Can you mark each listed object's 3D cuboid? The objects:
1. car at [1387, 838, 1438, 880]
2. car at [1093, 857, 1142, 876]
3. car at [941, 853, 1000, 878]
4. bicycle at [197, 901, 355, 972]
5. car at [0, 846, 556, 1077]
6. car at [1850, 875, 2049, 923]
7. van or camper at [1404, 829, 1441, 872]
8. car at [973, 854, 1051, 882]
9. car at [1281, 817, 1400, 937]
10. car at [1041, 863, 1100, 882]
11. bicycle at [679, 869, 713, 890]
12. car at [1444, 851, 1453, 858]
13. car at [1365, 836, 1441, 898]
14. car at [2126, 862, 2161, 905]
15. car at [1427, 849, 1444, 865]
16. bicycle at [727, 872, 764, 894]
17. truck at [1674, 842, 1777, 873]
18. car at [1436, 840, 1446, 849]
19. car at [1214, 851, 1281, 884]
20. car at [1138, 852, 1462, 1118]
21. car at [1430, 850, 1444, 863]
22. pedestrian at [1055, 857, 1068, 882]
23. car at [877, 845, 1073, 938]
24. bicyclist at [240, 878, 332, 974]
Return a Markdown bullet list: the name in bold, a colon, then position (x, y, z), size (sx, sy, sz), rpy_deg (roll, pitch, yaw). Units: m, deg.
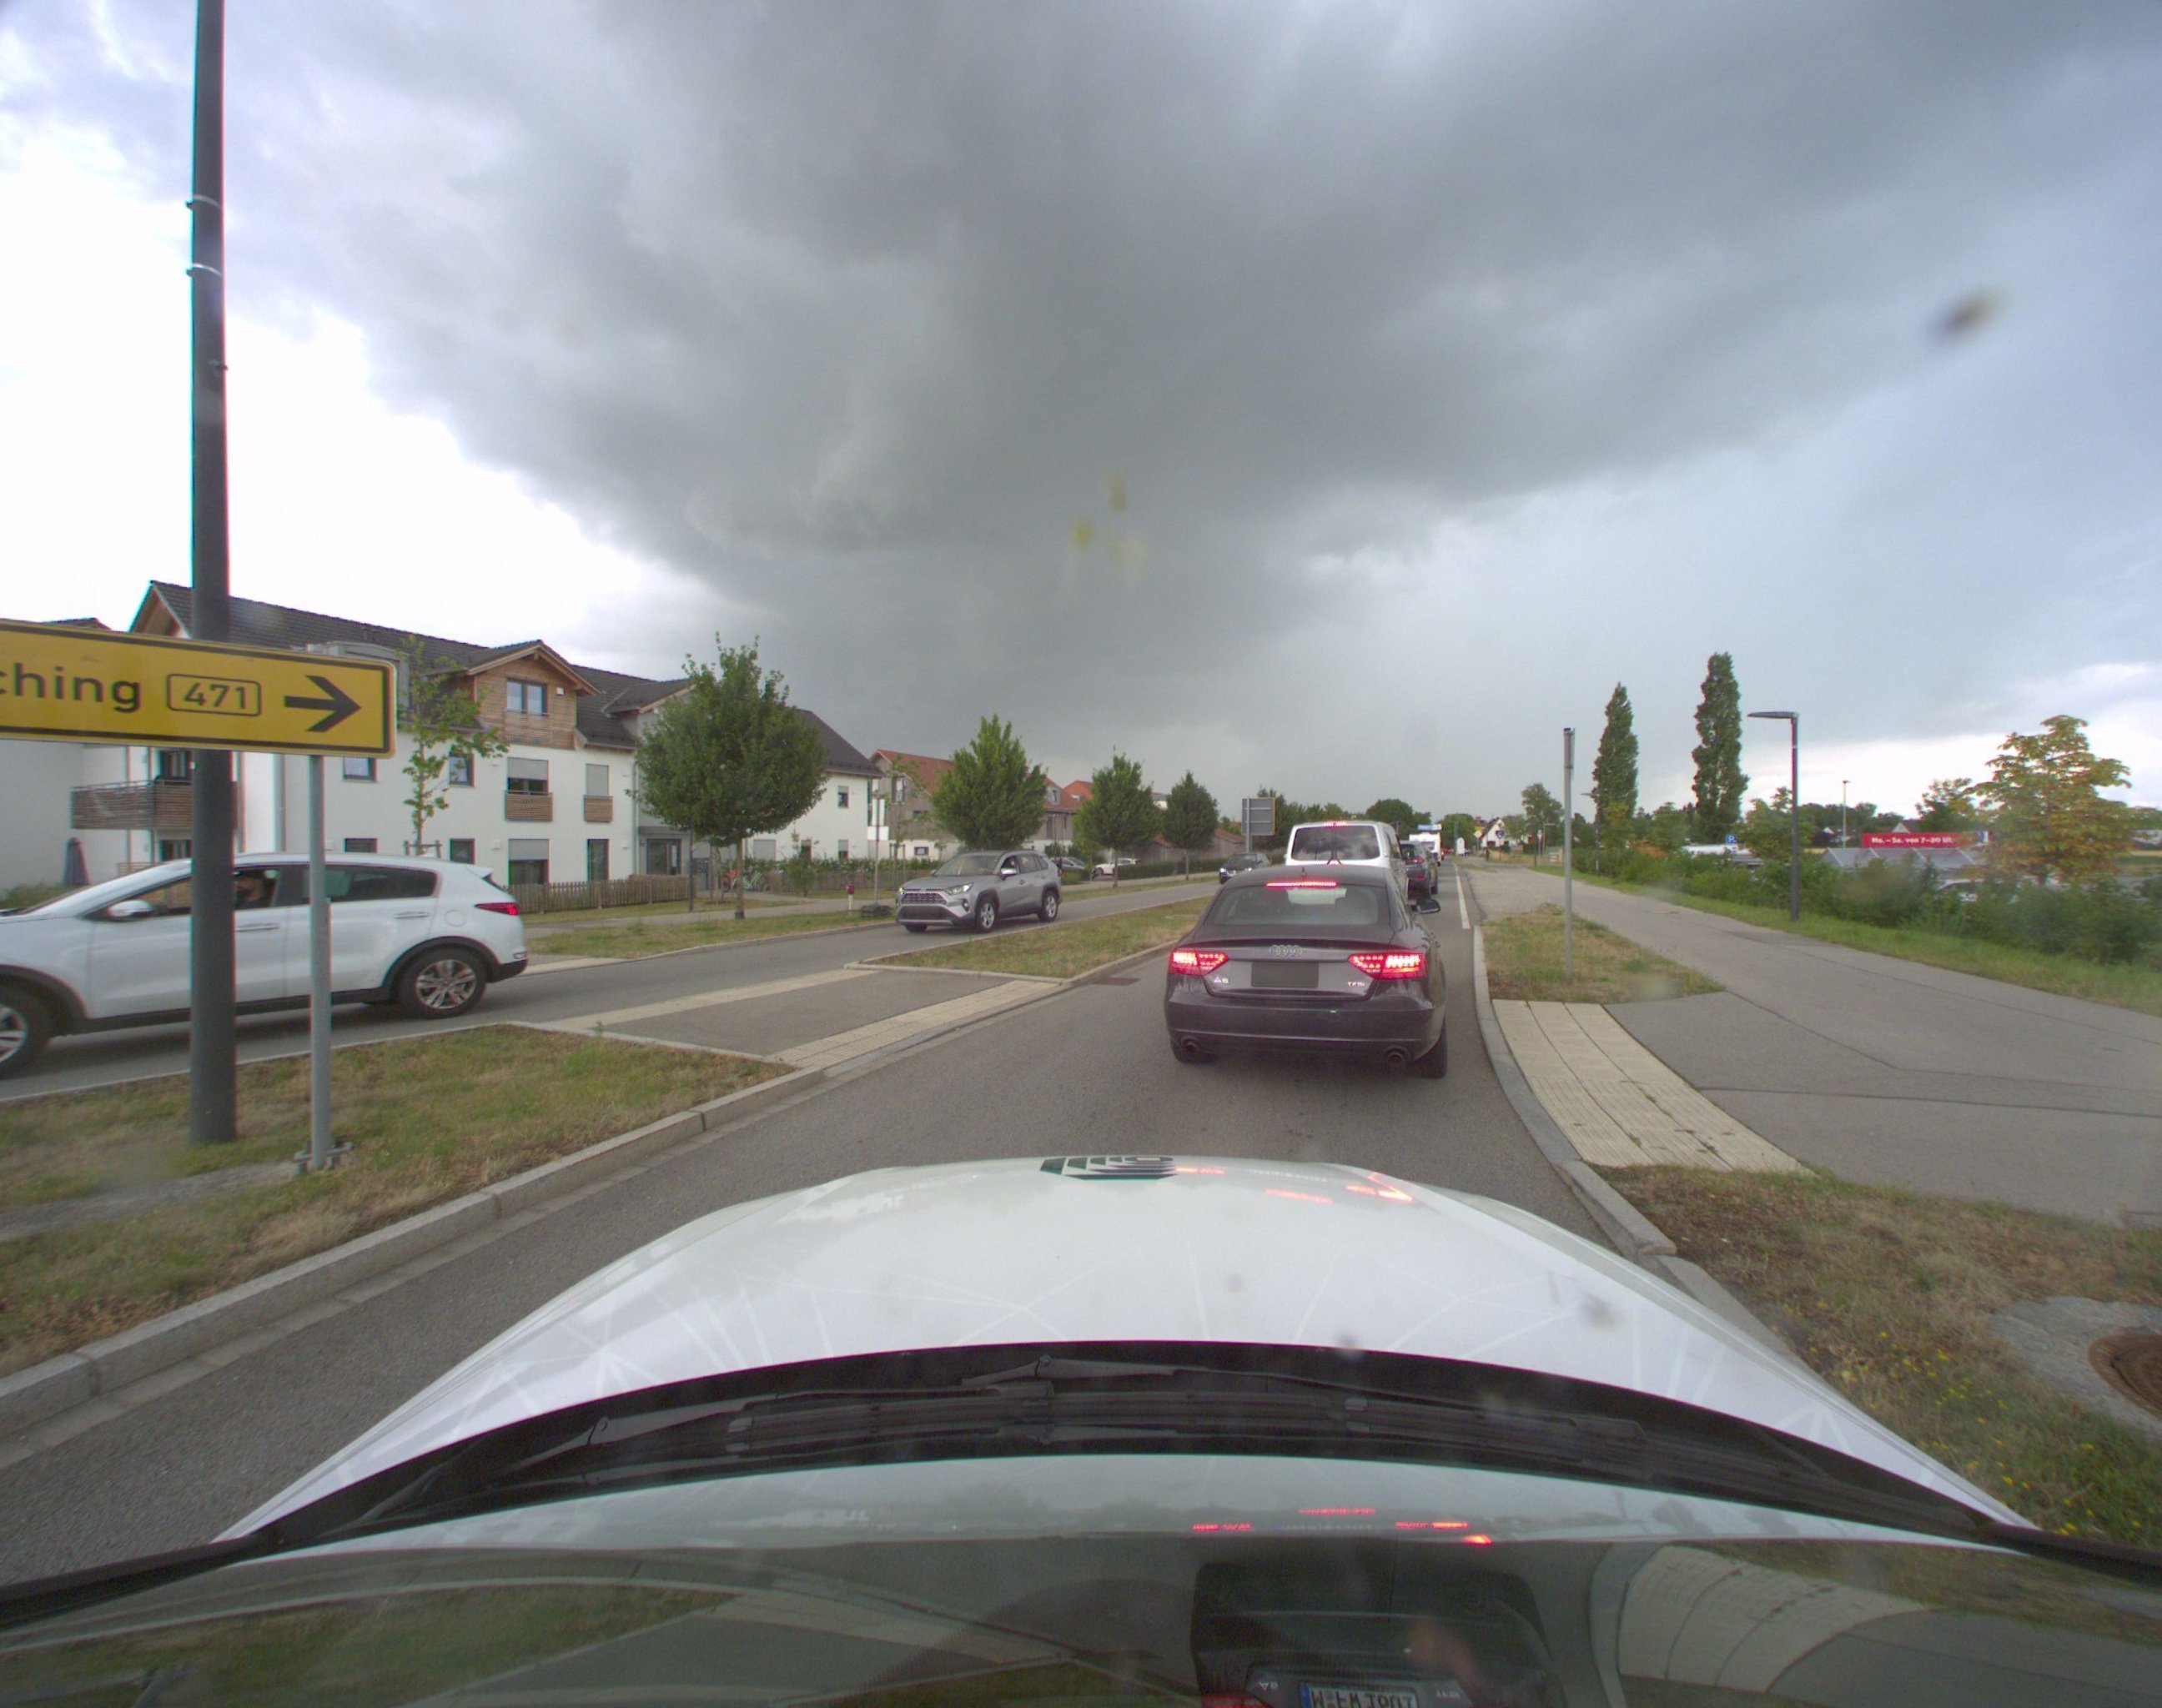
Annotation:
- **car**: position (13.675, 0.202, 33.437), size (1.760, 1.618, 4.023), rpy_deg (-1, 0, 24)
- **car**: position (3.006, 1.006, 67.423), size (3.697, 1.482, 1.695), rpy_deg (0, 1, 21)
- **car**: position (-8.177, 0.843, 60.653), size (1.974, 1.772, 4.493), rpy_deg (0, 0, 29)
- **bicycle**: position (-12.876, 1.287, 13.088), size (0.491, 0.946, 1.724), rpy_deg (-2, 0, 32)
- **car**: position (-7.599, 0.769, 7.365), size (1.692, 1.626, 4.479), rpy_deg (-2, -1, 33)
- **car**: position (29.423, 1.489, 27.783), size (4.194, 1.440, 2.011), rpy_deg (0, 0, 24)
- **van or camper**: position (28.074, -0.234, 66.801), size (2.601, 3.323, 6.859), rpy_deg (0, 0, 24)
- **car**: position (-4.305, 0.847, 51.013), size (4.488, 1.680, 2.012), rpy_deg (0, 0, 28)
- **car**: position (5.001, 0.355, 15.337), size (1.851, 1.934, 4.021), rpy_deg (0, 0, 22)
- **car**: position (-0.749, 1.297, 58.579), size (3.880, 1.315, 1.852), rpy_deg (0, 0, 22)
- **bicycle**: position (-16.557, 1.088, 35.055), size (0.364, 0.843, 1.345), rpy_deg (3, 1, 26)
- **car**: position (73.331, 0.095, 162.533), size (1.599, 1.409, 3.637), rpy_deg (0, 0, 25)
- **car**: position (9.431, 0.349, 23.692), size (1.760, 1.618, 4.023), rpy_deg (-2, -1, 25)
- **car**: position (44.607, 1.163, 31.647), size (4.515, 1.664, 2.011), rpy_deg (0, 0, 24)
- **car**: position (41.368, 0.297, 94.990), size (1.599, 1.794, 4.023), rpy_deg (0, 0, 25)
- **bicycle**: position (-13.966, 1.214, 33.947), size (0.364, 0.843, 1.556), rpy_deg (3, 1, 26)
- **truck**: position (41.055, 0.216, 52.024), size (4.756, 1.872, 2.010), rpy_deg (1, 0, 20)
- **car**: position (90.480, -2.434, 204.671), size (1.975, 2.211, 4.025), rpy_deg (0, 0, 29)
- **car**: position (7.931, 0.579, 38.514), size (1.737, 1.416, 4.484), rpy_deg (0, 1, 31)
- **car**: position (1.972, 0.717, 6.595), size (1.768, 1.391, 4.155), rpy_deg (-2, 0, 22)
- **car**: position (46.574, 0.300, 106.593), size (1.599, 1.630, 3.637), rpy_deg (0, 0, 25)
- **pedestrian**: position (-1.268, 0.993, 52.434), size (0.651, 1.559, 0.587), rpy_deg (0, 0, 28)
- **car**: position (-2.070, 0.697, 17.475), size (1.975, 1.704, 4.661), rpy_deg (-2, 0, 24)
- **bicyclist**: position (-12.821, 1.137, 13.146), size (0.715, 1.446, 0.875), rpy_deg (-2, 0, 31)
